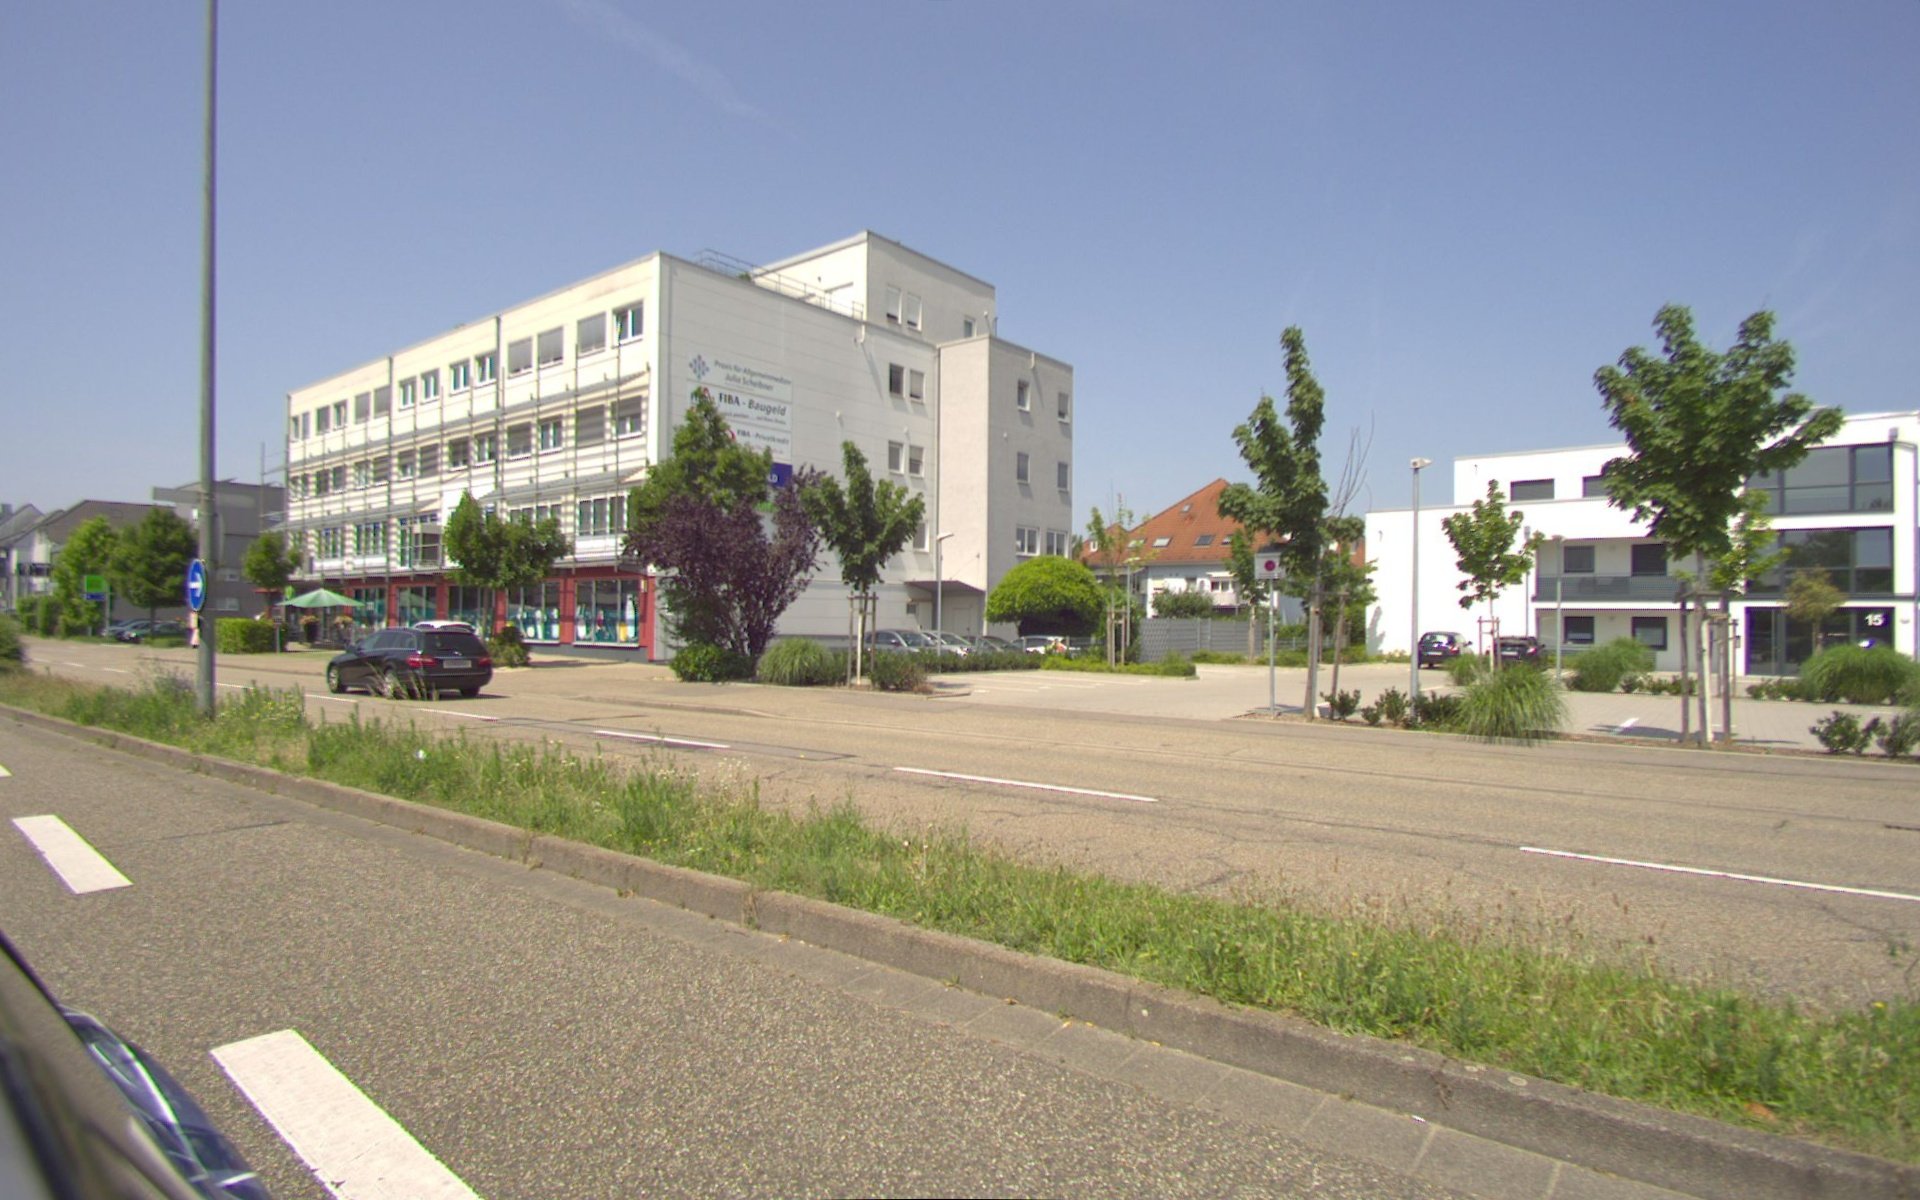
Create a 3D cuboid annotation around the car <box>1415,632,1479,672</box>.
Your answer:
[{"bbox_3d":[19.580,2.043,40.630,1.873,1.464,3.956,-1,-2,32],"label":"car"}]

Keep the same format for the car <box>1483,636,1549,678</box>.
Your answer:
[{"bbox_3d":[21.428,2.156,38.935,1.874,1.464,3.953,-1,-2,34],"label":"car"}]

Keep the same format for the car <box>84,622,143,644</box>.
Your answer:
[{"bbox_3d":[-55.214,2.163,65.999,1.444,1.423,2.703,-1,-2,39],"label":"car"}]

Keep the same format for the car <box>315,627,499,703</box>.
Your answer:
[{"bbox_3d":[-12.218,1.357,22.236,4.705,1.472,1.810,-1,-2,38],"label":"car"}]

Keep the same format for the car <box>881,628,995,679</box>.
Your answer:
[{"bbox_3d":[-0.742,1.693,32.623,3.554,1.530,1.537,-1,-2,41],"label":"car"}]

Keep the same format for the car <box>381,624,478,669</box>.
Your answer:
[{"bbox_3d":[-18.720,1.593,35.664,3.660,1.460,1.675,-1,-1,38],"label":"car"}]

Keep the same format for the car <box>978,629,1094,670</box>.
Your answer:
[{"bbox_3d":[2.709,1.751,36.486,3.832,1.394,1.900,-1,-3,42],"label":"car"}]
